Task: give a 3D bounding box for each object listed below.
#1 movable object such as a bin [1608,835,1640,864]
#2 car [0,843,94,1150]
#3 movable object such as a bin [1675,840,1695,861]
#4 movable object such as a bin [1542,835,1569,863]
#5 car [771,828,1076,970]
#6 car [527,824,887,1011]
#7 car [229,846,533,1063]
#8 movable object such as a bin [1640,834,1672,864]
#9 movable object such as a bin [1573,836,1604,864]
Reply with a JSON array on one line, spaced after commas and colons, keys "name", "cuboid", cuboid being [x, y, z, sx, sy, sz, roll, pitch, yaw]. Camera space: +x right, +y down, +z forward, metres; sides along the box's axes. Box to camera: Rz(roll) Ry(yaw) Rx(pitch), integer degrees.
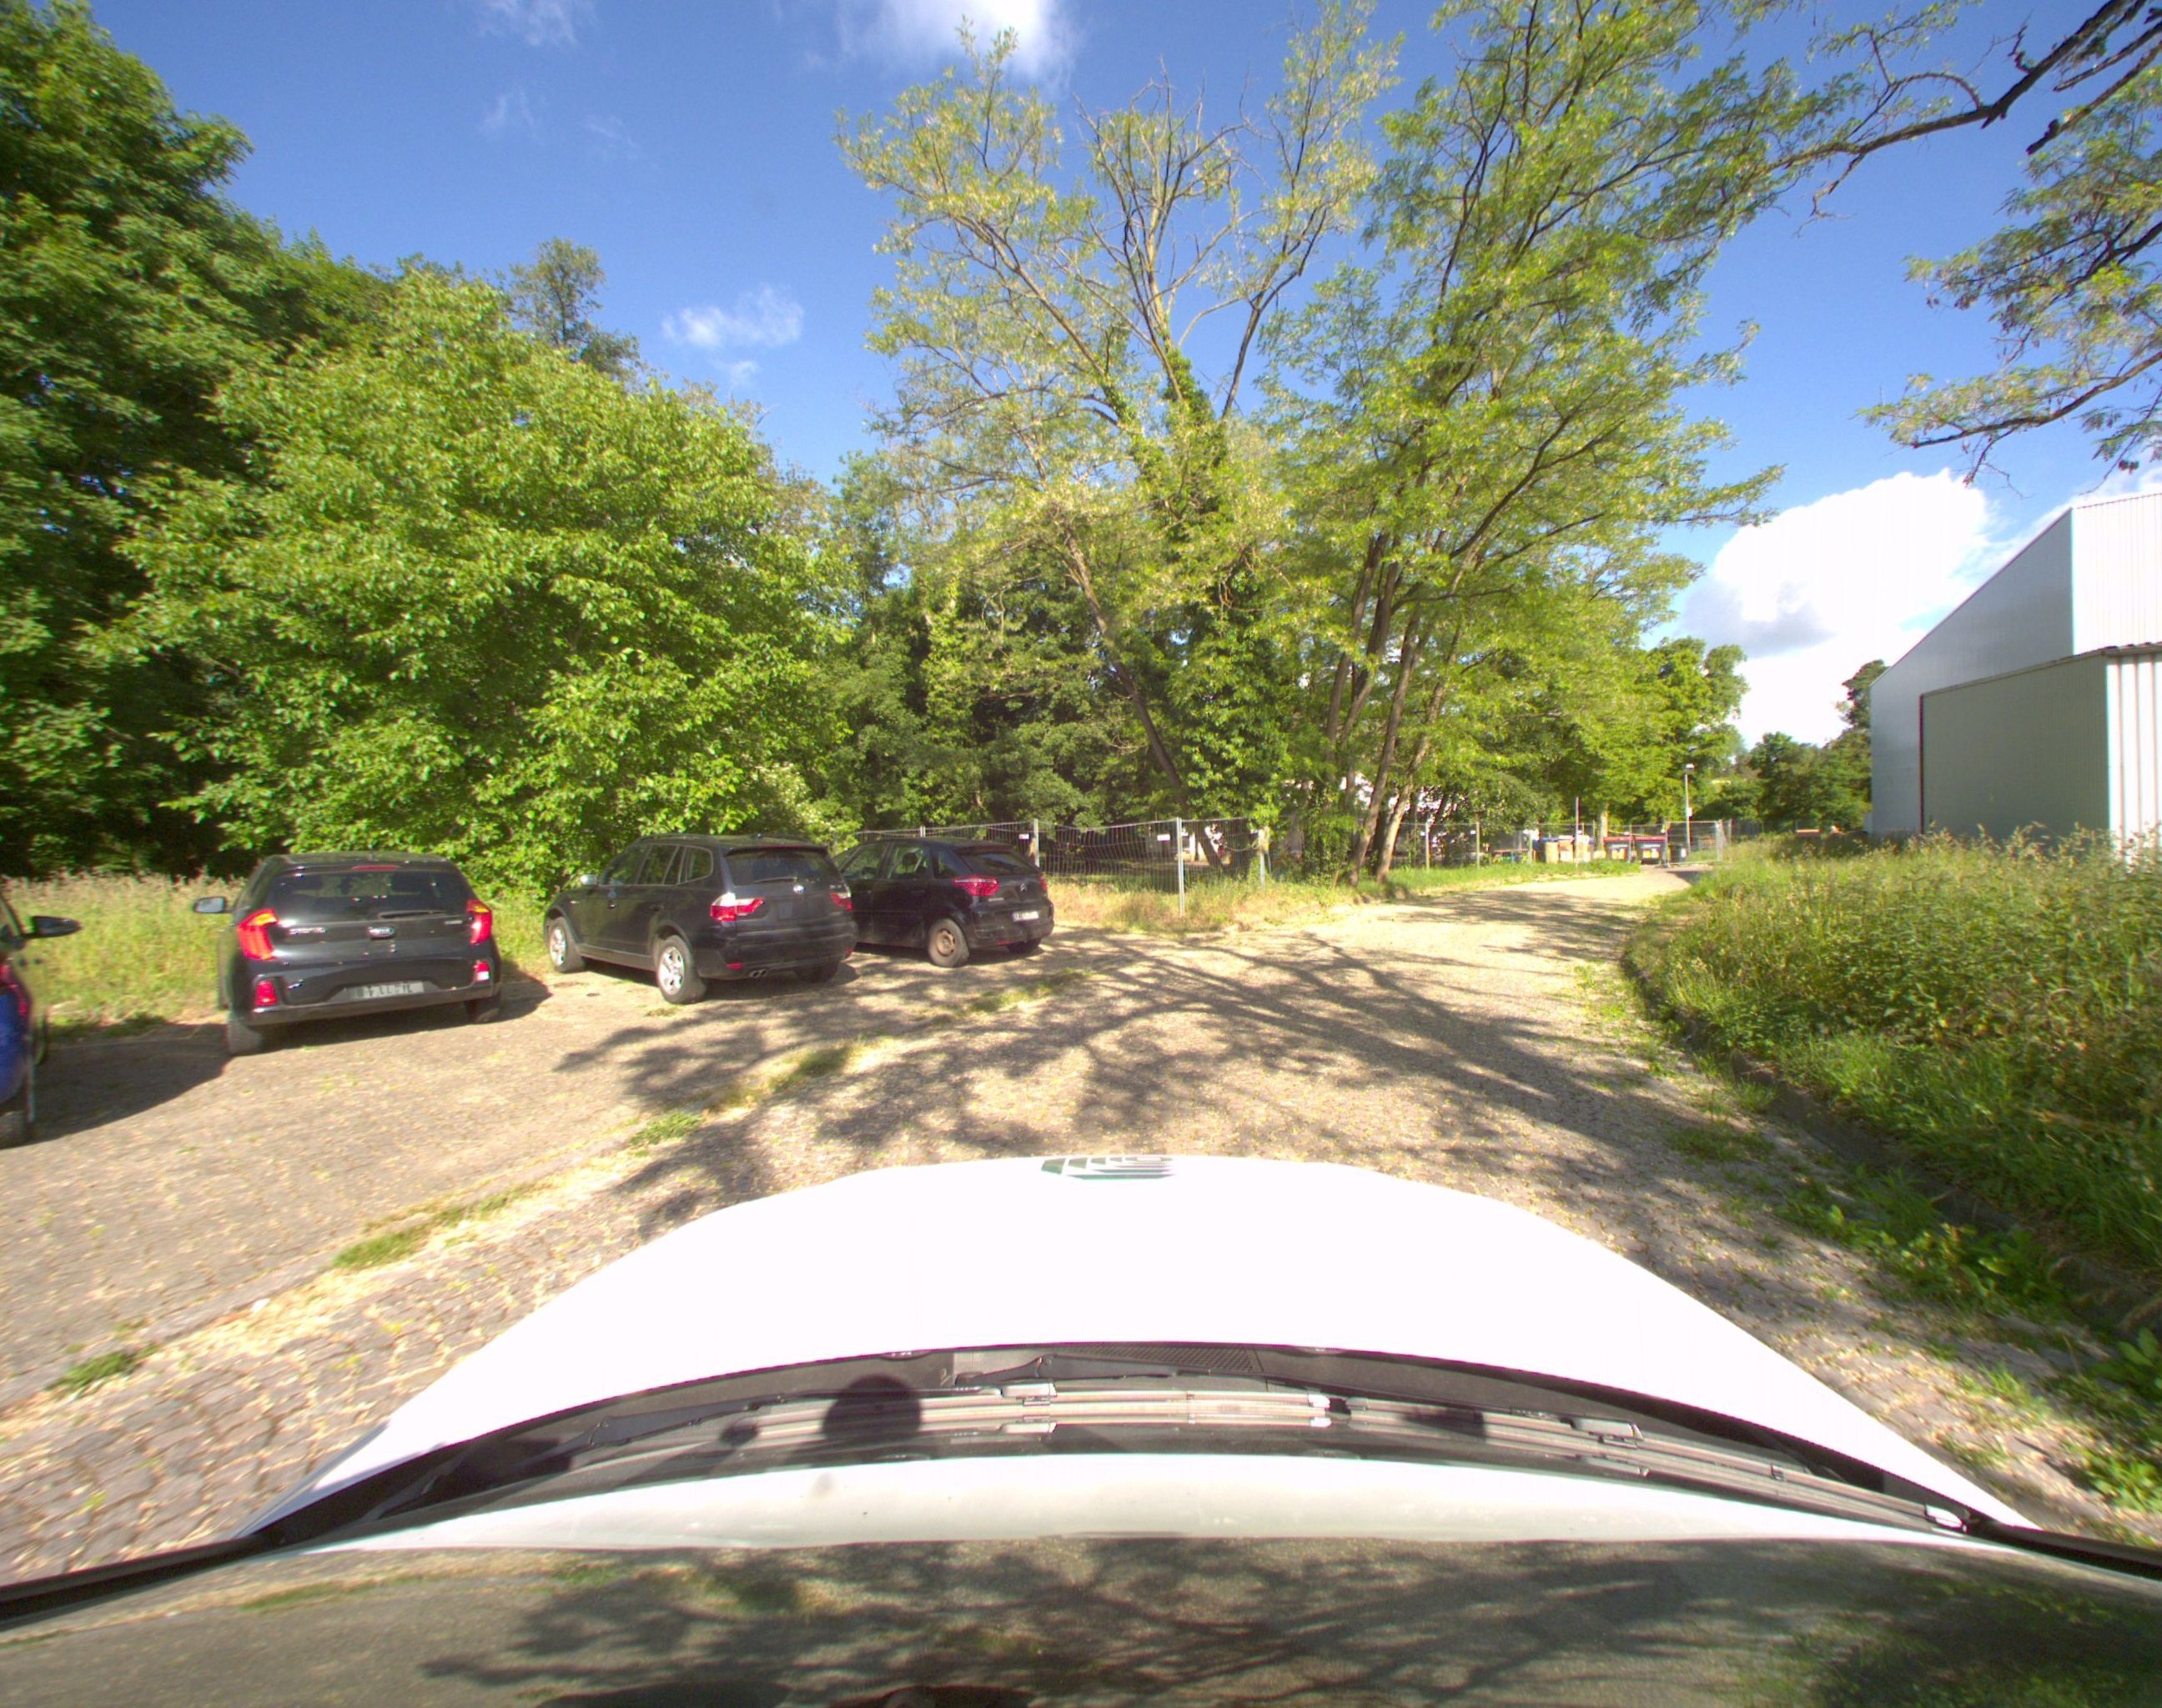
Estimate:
[{"name": "movable object such as a bin", "cuboid": [27.529, -0.211, 41.272, 1.275, 1.426, 1.039, -1, 0, 35]}, {"name": "car", "cuboid": [-7.068, 0.679, 4.639, 3.741, 1.458, 1.797, 1, 1, 39]}, {"name": "movable object such as a bin", "cuboid": [29.438, -0.177, 39.683, 0.608, 1.007, 0.636, -1, 0, -37]}, {"name": "movable object such as a bin", "cuboid": [25.035, -0.285, 42.975, 1.073, 1.438, 1.062, -1, 0, 39]}, {"name": "car", "cuboid": [-2.356, 0.487, 11.791, 4.219, 1.589, 1.841, 4, 3, 33]}, {"name": "car", "cuboid": [-4.405, 0.526, 9.361, 4.218, 1.631, 1.892, 3, 2, 36]}, {"name": "car", "cuboid": [-6.538, 0.668, 7.468, 3.678, 1.451, 1.755, 1, 1, 43]}, {"name": "movable object such as a bin", "cuboid": [28.605, -0.245, 40.533, 1.275, 1.426, 1.039, -1, 0, 34]}, {"name": "movable object such as a bin", "cuboid": [26.295, -0.214, 42.217, 1.275, 1.426, 1.039, -1, 0, 35]}]
